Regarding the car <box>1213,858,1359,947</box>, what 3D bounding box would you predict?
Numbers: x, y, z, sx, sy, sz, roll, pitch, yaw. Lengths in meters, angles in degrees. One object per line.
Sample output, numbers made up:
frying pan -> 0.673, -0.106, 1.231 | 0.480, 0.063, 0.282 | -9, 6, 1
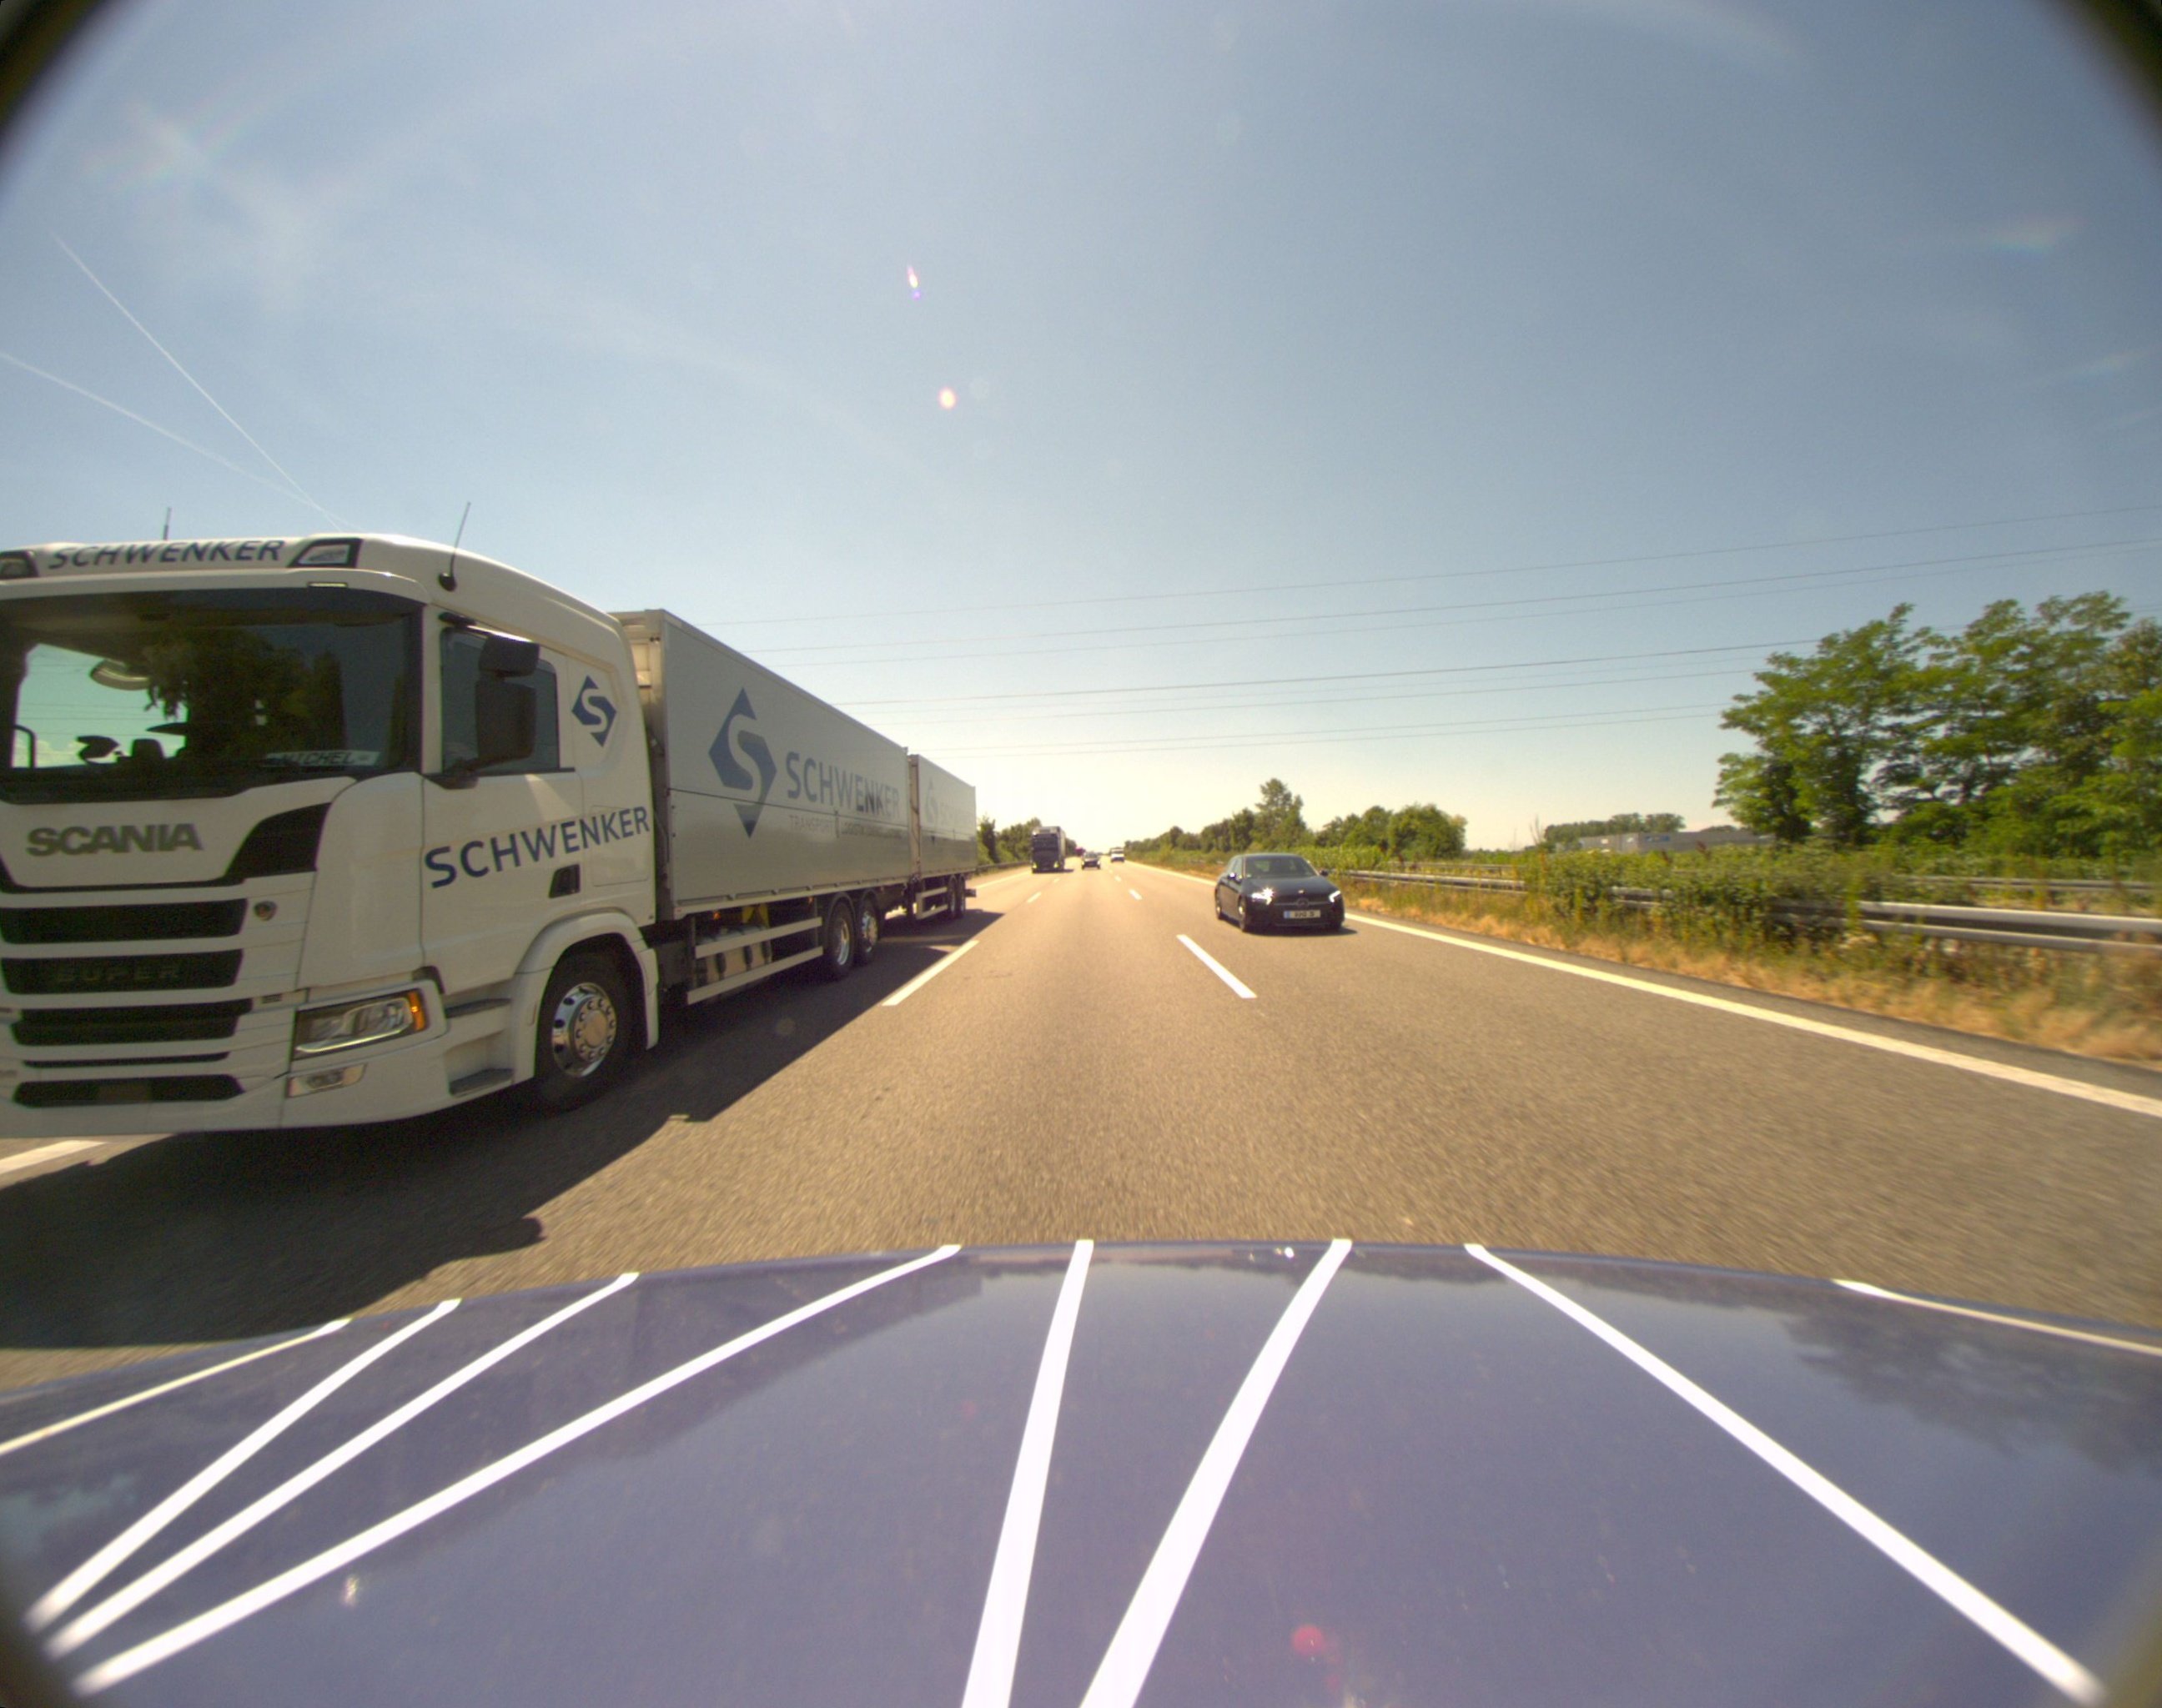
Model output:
car -> 3.844, 0.834, 14.967 | 1.796, 1.403, 4.052 | -2, 0, 1

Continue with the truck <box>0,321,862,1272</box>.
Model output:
truck -> -4.517, -0.218, 6.698 | 2.896, 4.007, 6.869 | -2, 1, 1

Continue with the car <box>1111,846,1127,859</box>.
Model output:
car -> 5.778, -0.276, 115.736 | 2.147, 1.810, 5.267 | -2, 0, 1

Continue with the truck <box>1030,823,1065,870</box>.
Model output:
truck -> -2.917, -0.650, 67.387 | 2.559, 3.931, 6.513 | -2, 0, 1

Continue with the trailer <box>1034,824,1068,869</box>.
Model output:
trailer -> -2.792, -0.706, 74.812 | 2.559, 3.931, 13.538 | -2, 0, 1

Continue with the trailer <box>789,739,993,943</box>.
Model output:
trailer -> -4.335, -0.288, 19.562 | 2.952, 4.039, 8.127 | -2, 1, 1

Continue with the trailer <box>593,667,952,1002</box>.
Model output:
trailer -> -4.408, -0.256, 13.013 | 2.927, 4.018, 7.316 | -2, 1, 1

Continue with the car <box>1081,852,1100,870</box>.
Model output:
car -> 0.907, 0.671, 74.490 | 1.796, 1.696, 4.000 | 0, 0, 1
